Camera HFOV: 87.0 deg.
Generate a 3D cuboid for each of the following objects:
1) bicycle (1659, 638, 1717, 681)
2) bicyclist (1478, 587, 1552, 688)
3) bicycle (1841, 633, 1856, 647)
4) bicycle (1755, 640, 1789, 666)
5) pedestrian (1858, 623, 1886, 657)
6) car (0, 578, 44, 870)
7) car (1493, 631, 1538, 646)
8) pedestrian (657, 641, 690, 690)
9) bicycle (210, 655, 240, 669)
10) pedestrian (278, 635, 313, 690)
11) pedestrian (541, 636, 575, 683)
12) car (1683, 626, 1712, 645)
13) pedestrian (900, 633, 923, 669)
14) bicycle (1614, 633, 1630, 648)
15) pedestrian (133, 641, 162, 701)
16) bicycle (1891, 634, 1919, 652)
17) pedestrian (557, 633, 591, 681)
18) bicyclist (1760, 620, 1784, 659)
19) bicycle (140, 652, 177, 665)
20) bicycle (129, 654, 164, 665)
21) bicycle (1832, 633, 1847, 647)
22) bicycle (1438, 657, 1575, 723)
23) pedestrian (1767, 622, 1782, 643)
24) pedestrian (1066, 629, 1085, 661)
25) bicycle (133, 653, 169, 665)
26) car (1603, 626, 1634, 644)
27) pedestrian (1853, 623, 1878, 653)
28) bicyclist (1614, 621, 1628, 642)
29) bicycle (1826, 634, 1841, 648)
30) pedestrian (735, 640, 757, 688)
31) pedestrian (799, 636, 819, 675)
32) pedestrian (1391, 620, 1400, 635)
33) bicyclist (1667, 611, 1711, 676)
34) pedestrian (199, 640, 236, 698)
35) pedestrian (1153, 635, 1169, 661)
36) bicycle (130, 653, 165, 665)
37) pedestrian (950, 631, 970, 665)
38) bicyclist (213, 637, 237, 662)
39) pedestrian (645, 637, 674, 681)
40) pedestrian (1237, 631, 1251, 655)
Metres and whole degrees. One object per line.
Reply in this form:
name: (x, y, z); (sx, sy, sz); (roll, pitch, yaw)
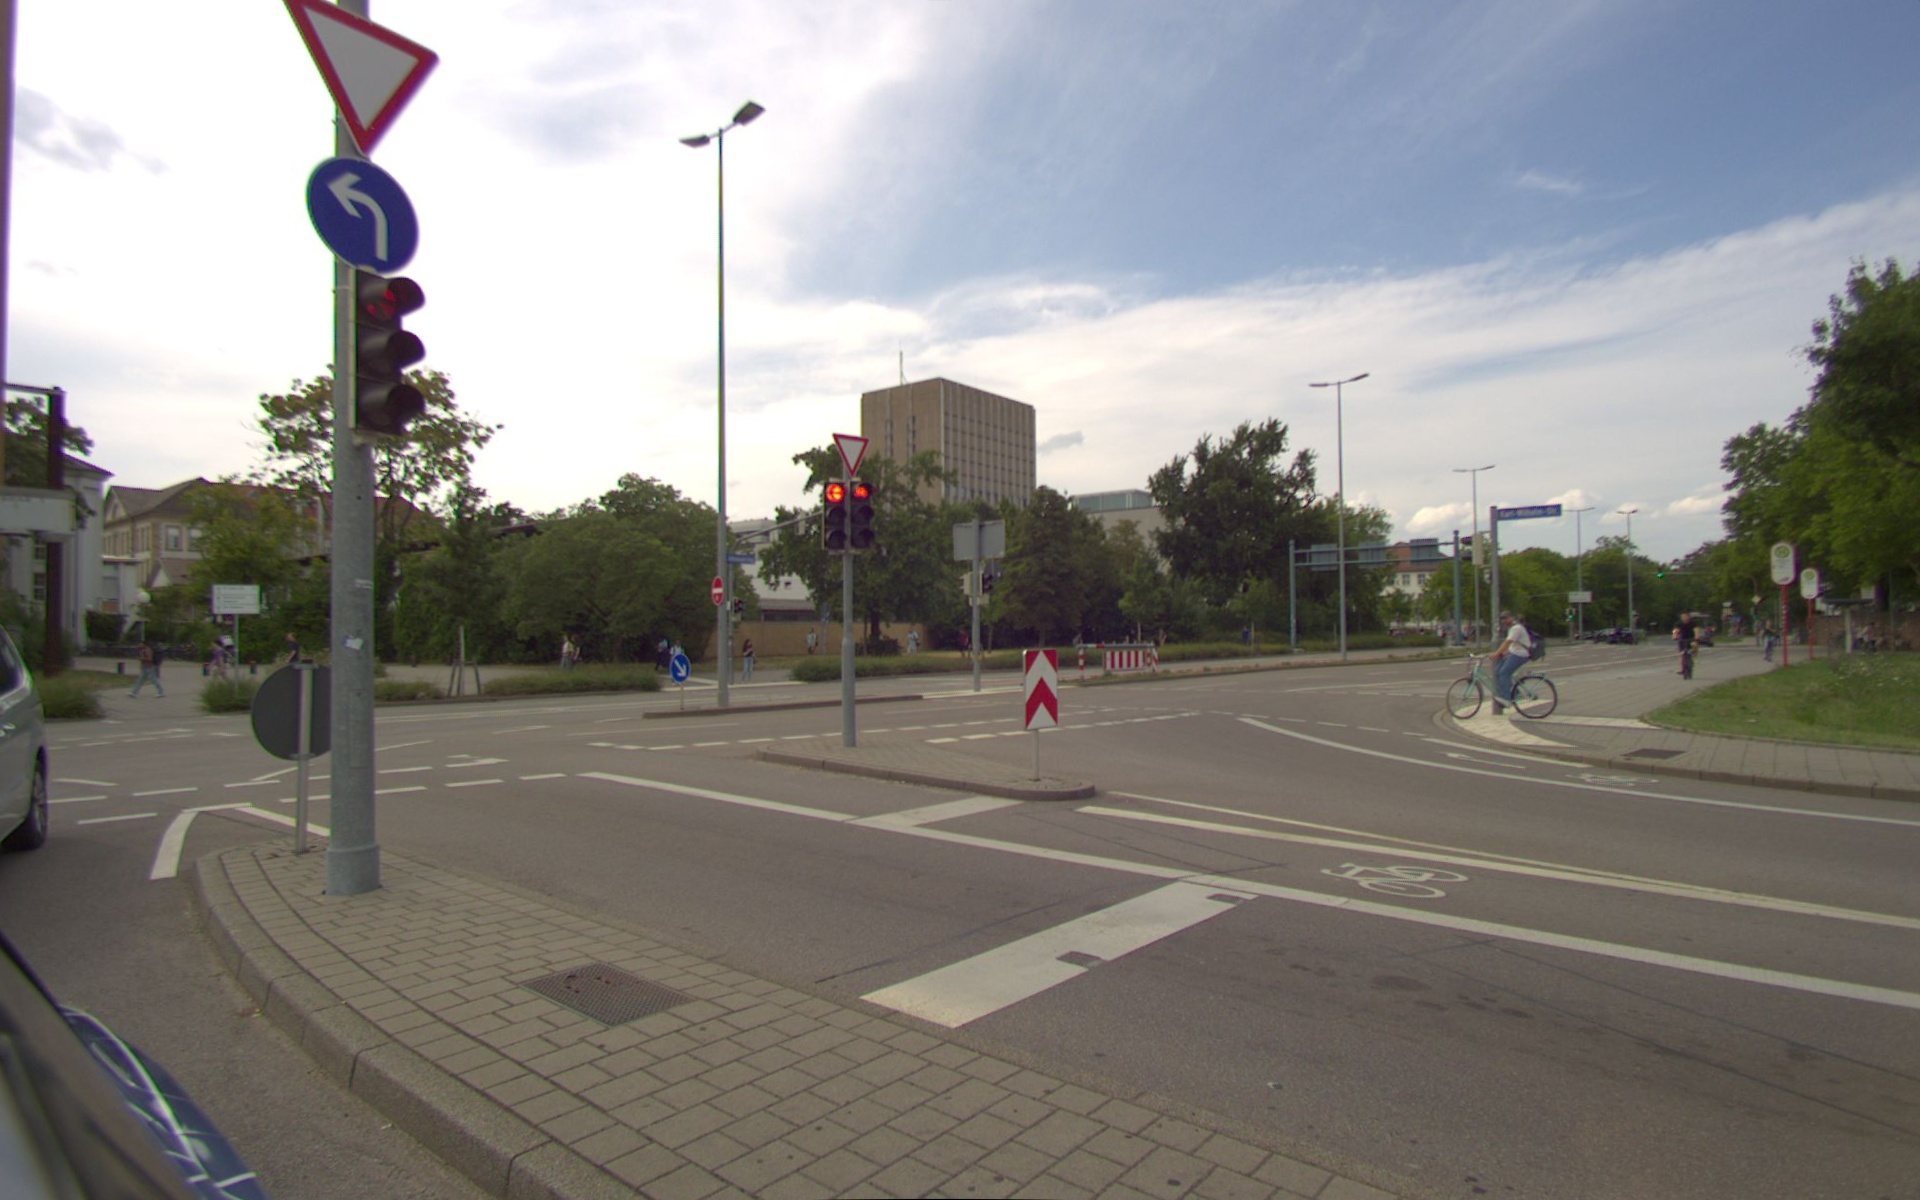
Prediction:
bicycle: (18.074, 1.472, 25.111); (1.939, 0.943, 0.507); (-2, -1, -34)
bicyclist: (9.000, 0.605, 16.429); (0.786, 1.567, 0.580); (-2, -1, -4)
bicycle: (58.234, 2.641, 66.338); (0.432, 0.894, 1.559); (-6, -5, 31)
bicycle: (33.766, 2.195, 42.069); (1.939, 0.943, 0.507); (-2, -1, -34)
pedestrian: (45.732, 2.007, 50.763); (0.749, 1.634, 0.661); (-3, -3, 19)
car: (-6.250, 0.720, 5.222); (1.795, 1.747, 4.538); (0, -4, -36)
car: (59.393, 4.113, 108.189); (1.759, 1.501, 4.142); (1, -1, -17)
pedestrian: (-10.228, 2.344, 36.174); (0.827, 1.724, 0.801); (0, -4, -42)
bicycle: (-38.765, 3.269, 53.395); (0.829, 0.699, 1.851); (-1, -3, -21)
pedestrian: (-21.551, 2.031, 32.807); (0.788, 1.724, 0.840); (1, -4, -44)
pedestrian: (-15.104, 2.227, 38.017); (0.835, 1.724, 0.792); (-4, -4, 27)
car: (62.933, 2.983, 86.321); (1.699, 1.492, 4.358); (-5, -4, 38)
pedestrian: (-2.391, 2.507, 49.927); (0.841, 1.724, 0.686); (-5, -4, 39)
bicycle: (55.684, 3.403, 85.164); (0.759, 1.198, 2.068); (0, -2, 44)
pedestrian: (-24.087, 2.103, 30.001); (0.624, 1.724, 0.674); (1, -4, -44)
bicycle: (52.124, 2.374, 55.745); (0.657, 0.894, 1.564); (-5, -4, 22)
pedestrian: (-14.330, 2.104, 37.562); (0.835, 1.724, 0.792); (-4, -4, 27)
bicyclist: (33.766, 1.635, 42.106); (0.784, 1.567, 0.496); (-2, -1, -34)
bicycle: (-50.663, 3.688, 63.992); (1.816, 0.699, 0.668); (0, -4, -40)
bicycle: (-54.104, 3.963, 67.326); (1.816, 0.699, 0.653); (0, -4, -40)
bicycle: (59.004, 2.688, 67.877); (0.432, 0.894, 1.559); (-6, -5, 31)
bicycle: (8.860, 1.450, 16.437); (1.942, 0.943, 0.506); (-2, -1, -4)
pedestrian: (64.106, 2.569, 79.670); (0.753, 1.634, 0.657); (-5, -4, 37)
pedestrian: (6.408, 2.475, 56.126); (0.683, 1.724, 0.735); (1, -4, -44)
bicycle: (-51.955, 3.810, 65.002); (1.816, 0.699, 0.653); (0, -4, -40)
car: (58.386, 3.073, 89.792); (1.781, 1.501, 4.093); (0, -1, 27)
pedestrian: (50.710, 2.136, 56.682); (0.749, 1.634, 0.661); (-3, -3, 19)
bicyclist: (55.779, 2.687, 85.428); (1.070, 1.724, 0.779); (3, -2, -45)
bicycle: (59.962, 2.826, 69.485); (0.432, 0.894, 1.559); (-6, -5, 31)
pedestrian: (-7.913, 2.355, 37.425); (0.579, 1.724, 0.482); (0, -4, -42)
pedestrian: (-6.785, 2.481, 45.572); (0.544, 1.709, 0.686); (-1, -1, 39)
pedestrian: (53.322, 3.344, 123.830); (0.769, 1.724, 0.685); (-5, -4, 42)
bicyclist: (18.080, 1.077, 25.108); (0.784, 1.567, 0.581); (-2, -1, -34)
pedestrian: (-22.481, 2.083, 30.629); (0.788, 1.724, 0.840); (1, -4, -44)
pedestrian: (13.403, 3.216, 67.569); (0.714, 1.724, 0.685); (-5, -4, 42)
bicycle: (-55.240, 3.997, 68.799); (1.816, 0.699, 0.653); (0, -4, -40)
pedestrian: (0.009, 2.512, 52.515); (0.714, 1.724, 0.685); (-5, -4, 42)
bicyclist: (-38.776, 2.604, 53.391); (0.825, 1.287, 1.016); (-1, -3, -24)
pedestrian: (-12.052, 2.367, 40.593); (0.714, 1.724, 0.789); (-5, -4, 39)
pedestrian: (21.337, 3.217, 75.961); (0.714, 1.724, 0.685); (-5, -4, 42)
